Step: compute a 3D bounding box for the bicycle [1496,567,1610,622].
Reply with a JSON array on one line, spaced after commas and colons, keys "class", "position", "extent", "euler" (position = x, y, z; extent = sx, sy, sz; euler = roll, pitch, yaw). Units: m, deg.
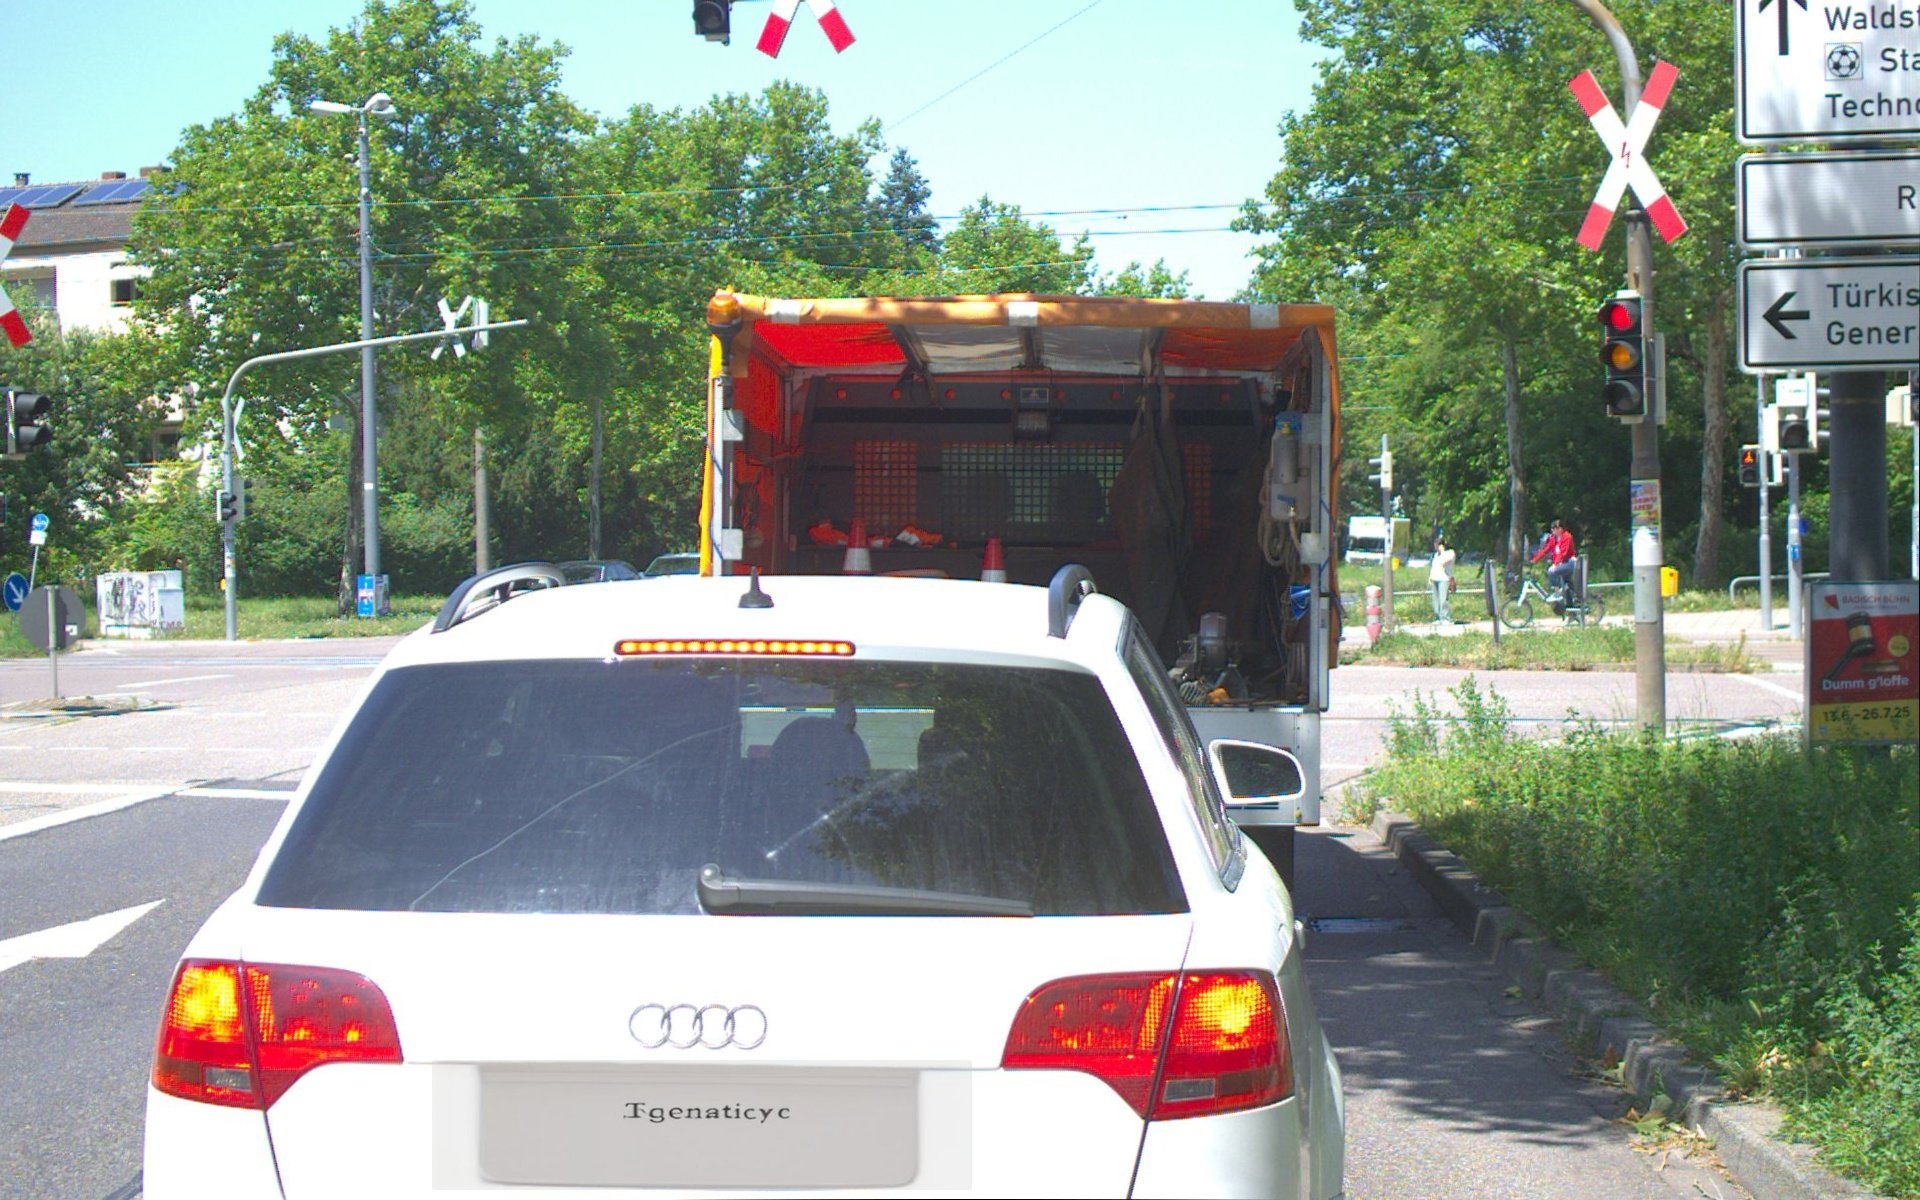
[{"class": "bicycle", "position": [9.621, -0.087, 55.788], "extent": [1.806, 0.892, 0.588], "euler": [0, 0, 10]}]

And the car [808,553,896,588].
[{"class": "car", "position": [-4.356, -1.196, 139.102], "extent": [1.884, 1.388, 3.994], "euler": [0, 1, 26]}]

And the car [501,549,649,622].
[{"class": "car", "position": [-8.177, -0.340, 73.389], "extent": [1.950, 1.435, 4.745], "euler": [0, 2, 9]}]

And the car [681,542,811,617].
[{"class": "car", "position": [-4.574, -0.463, 74.130], "extent": [1.909, 1.533, 4.297], "euler": [-1, 1, 8]}]

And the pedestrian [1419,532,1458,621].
[{"class": "pedestrian", "position": [8.119, -0.401, 58.282], "extent": [0.553, 1.479, 0.629], "euler": [-1, 1, 16]}]

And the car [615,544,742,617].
[{"class": "car", "position": [-6.584, -0.477, 80.768], "extent": [1.788, 1.609, 4.402], "euler": [-1, 1, 12]}]

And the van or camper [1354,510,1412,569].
[{"class": "van or camper", "position": [24.559, -3.507, 199.415], "extent": [2.662, 3.320, 5.497], "euler": [0, 1, 14]}]

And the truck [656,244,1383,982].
[{"class": "truck", "position": [0.373, -0.003, 15.839], "extent": [2.511, 2.551, 7.603], "euler": [1, 1, 3]}]

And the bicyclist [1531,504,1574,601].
[{"class": "bicyclist", "position": [9.614, -0.766, 55.785], "extent": [0.672, 1.551, 0.579], "euler": [0, 0, 11]}]

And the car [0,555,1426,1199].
[{"class": "car", "position": [-0.217, 0.656, 5.946], "extent": [1.763, 1.440, 3.615], "euler": [0, 1, 4]}]
